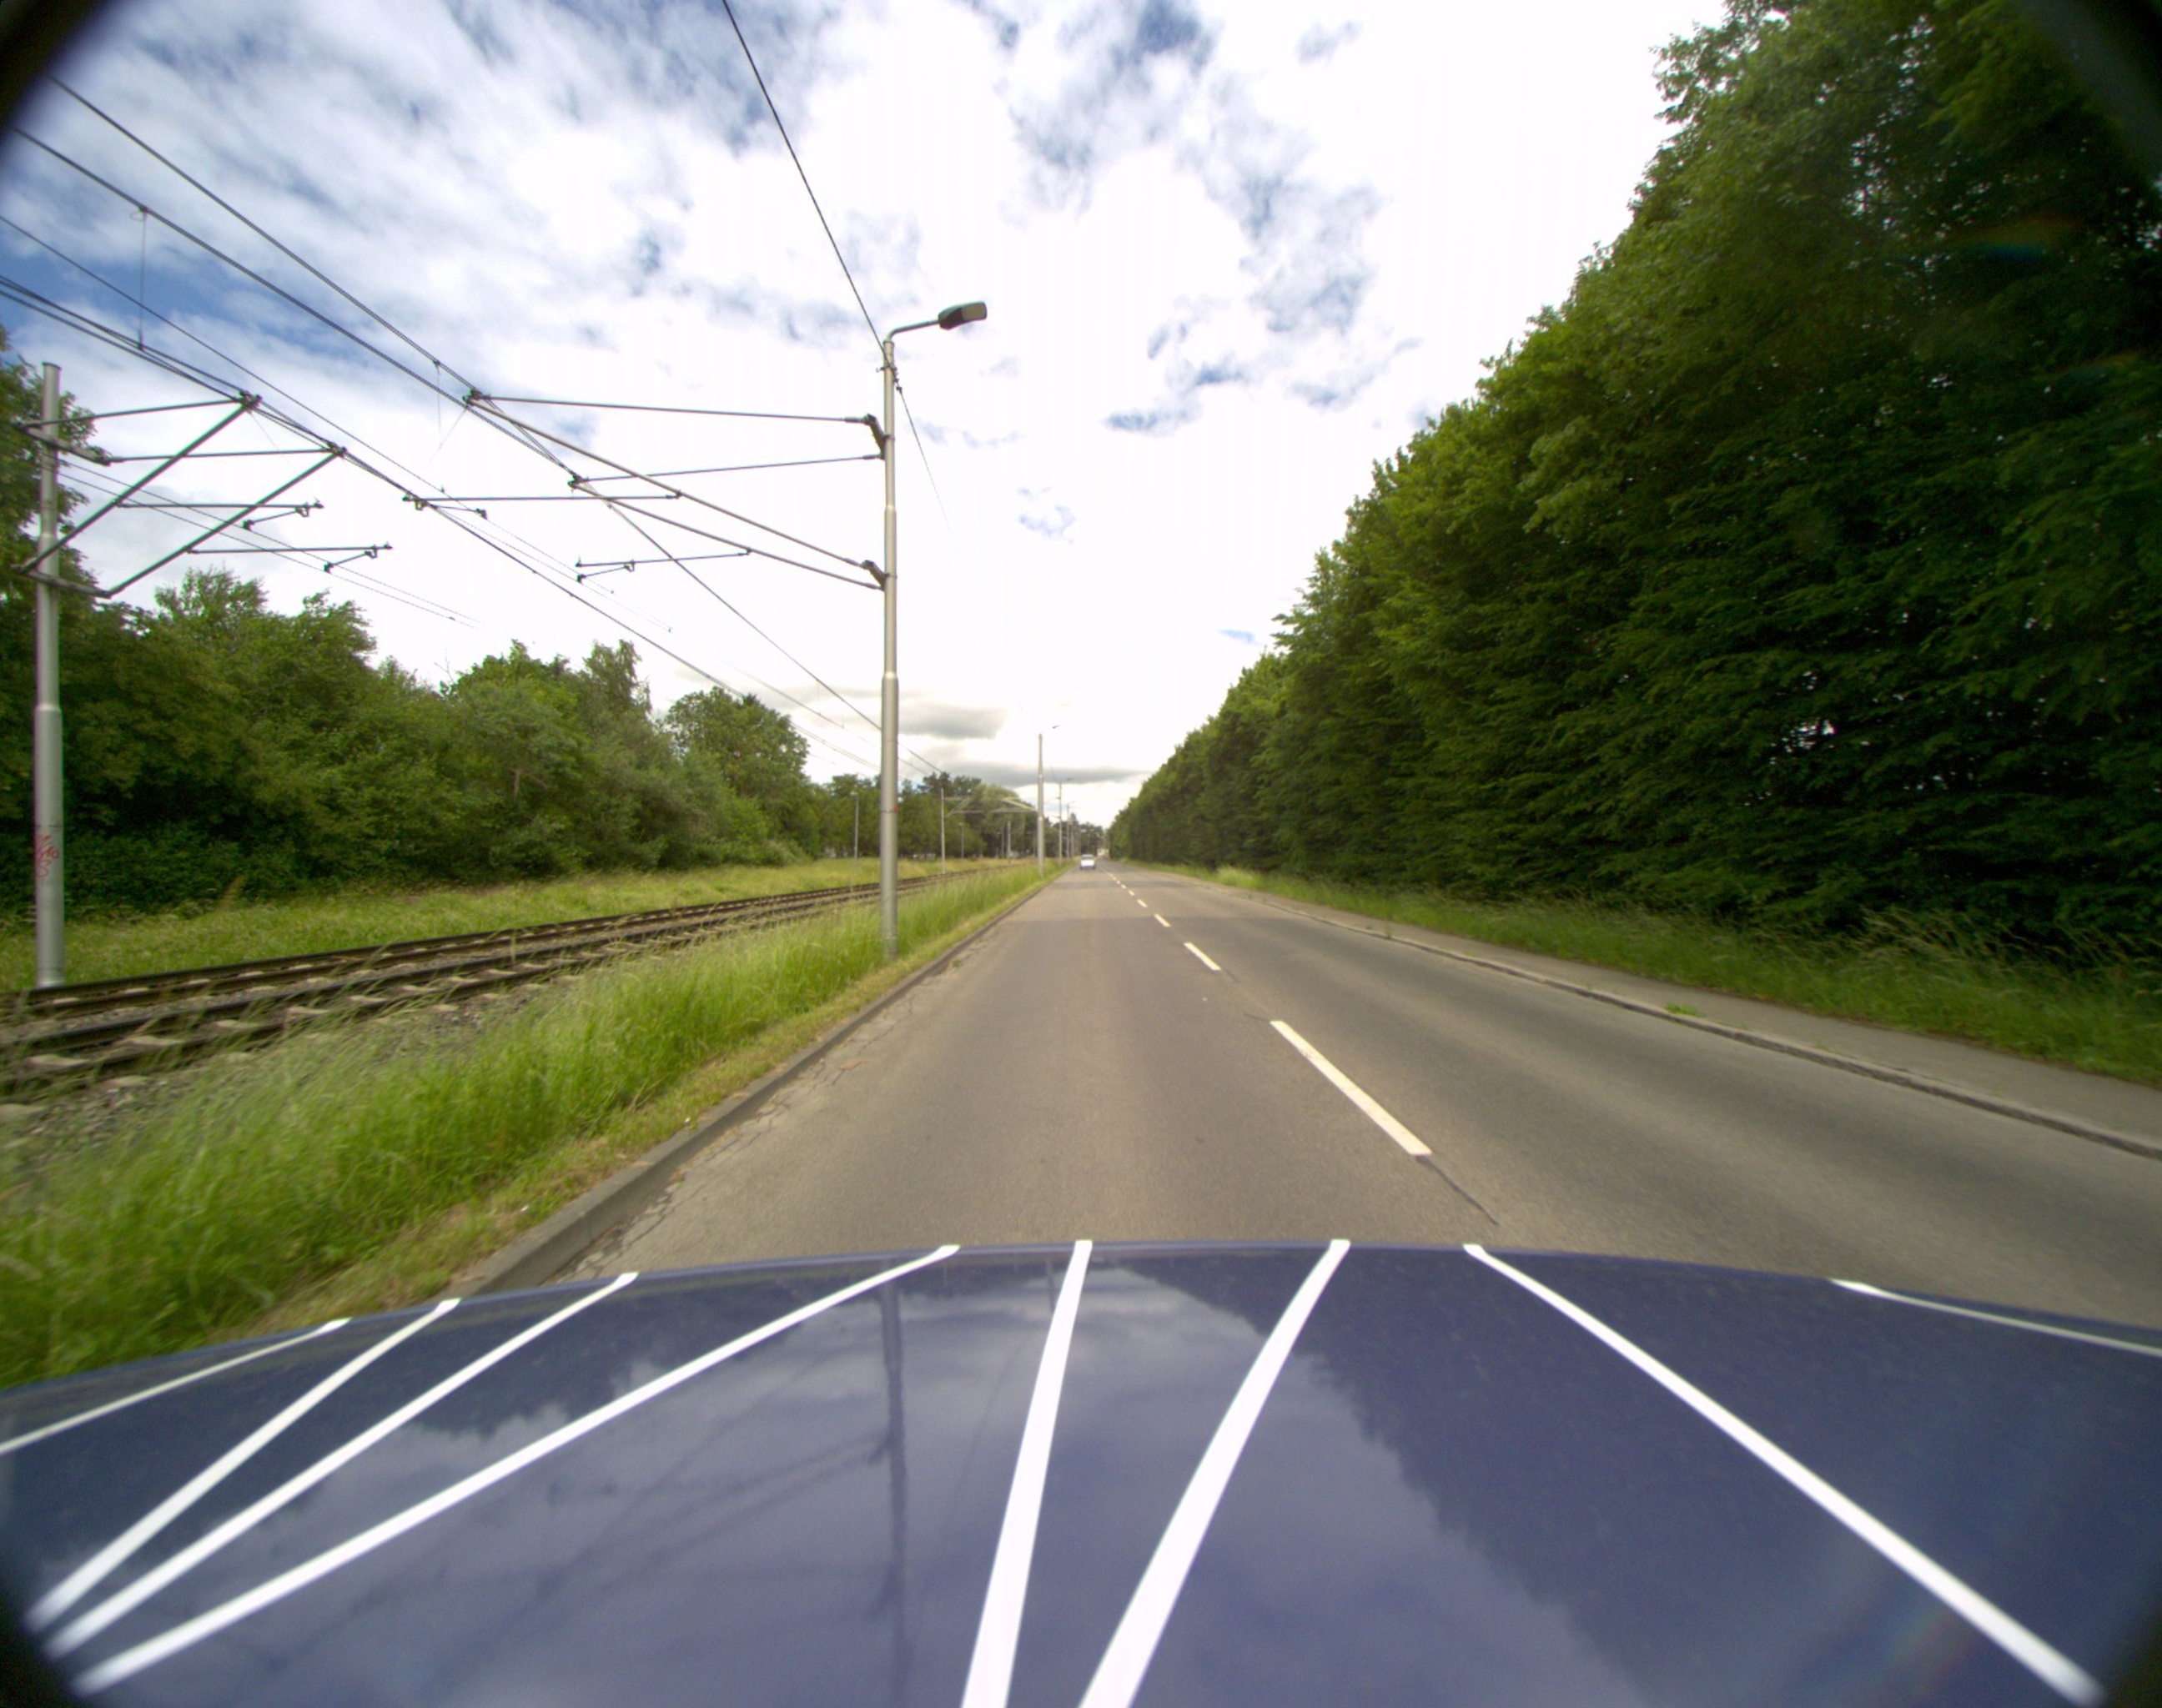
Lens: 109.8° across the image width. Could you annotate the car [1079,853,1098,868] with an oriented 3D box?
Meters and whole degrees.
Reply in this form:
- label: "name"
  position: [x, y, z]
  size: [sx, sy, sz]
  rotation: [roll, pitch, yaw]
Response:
- label: "car"
  position: [0.846, 0.695, 84.056]
  size: [1.999, 1.679, 3.999]
  rotation: [-1, 0, 0]
